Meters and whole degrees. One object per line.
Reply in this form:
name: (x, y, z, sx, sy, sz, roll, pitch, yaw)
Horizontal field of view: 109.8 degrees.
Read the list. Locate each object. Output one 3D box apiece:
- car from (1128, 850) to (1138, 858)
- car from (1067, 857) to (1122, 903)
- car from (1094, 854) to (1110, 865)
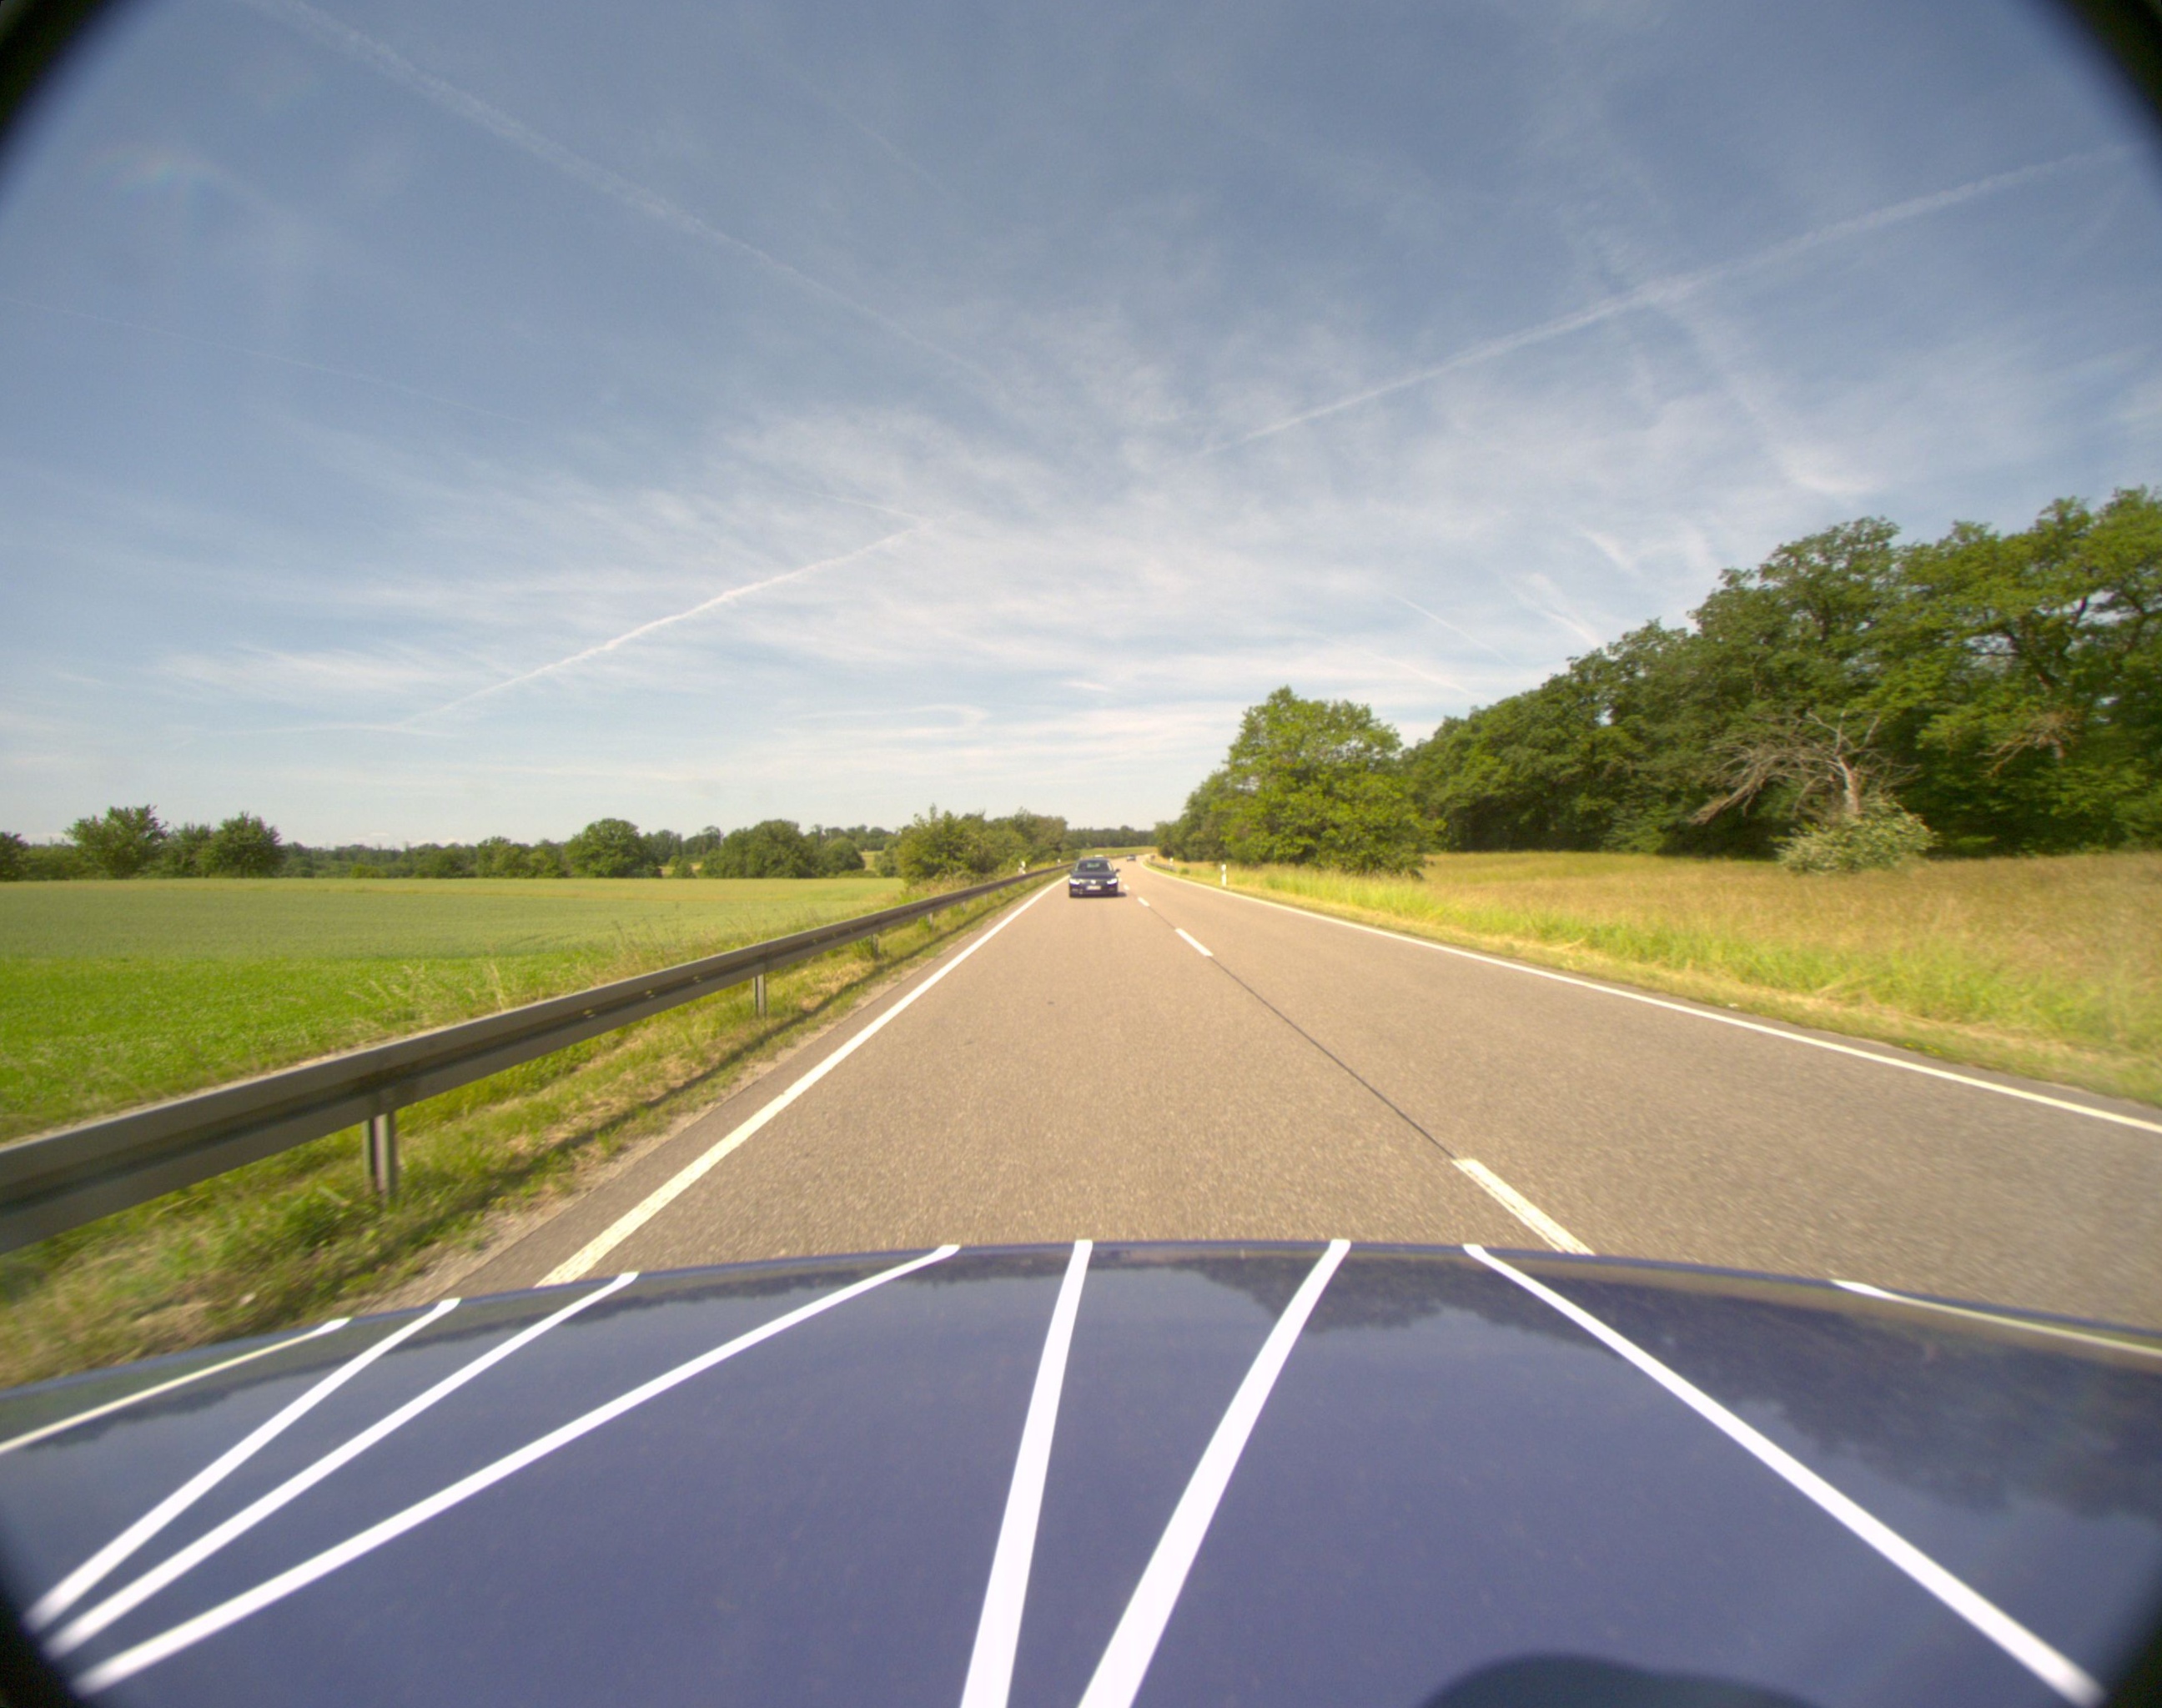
car: (10.553, -0.063, 154.251, 1.749, 1.506, 4.055, -1, 0, 6)
car: (0.518, 0.895, 27.867, 1.821, 1.501, 4.501, -1, -1, 2)
car: (2.957, 0.736, 106.823, 1.928, 1.501, 4.291, -2, -1, -2)
